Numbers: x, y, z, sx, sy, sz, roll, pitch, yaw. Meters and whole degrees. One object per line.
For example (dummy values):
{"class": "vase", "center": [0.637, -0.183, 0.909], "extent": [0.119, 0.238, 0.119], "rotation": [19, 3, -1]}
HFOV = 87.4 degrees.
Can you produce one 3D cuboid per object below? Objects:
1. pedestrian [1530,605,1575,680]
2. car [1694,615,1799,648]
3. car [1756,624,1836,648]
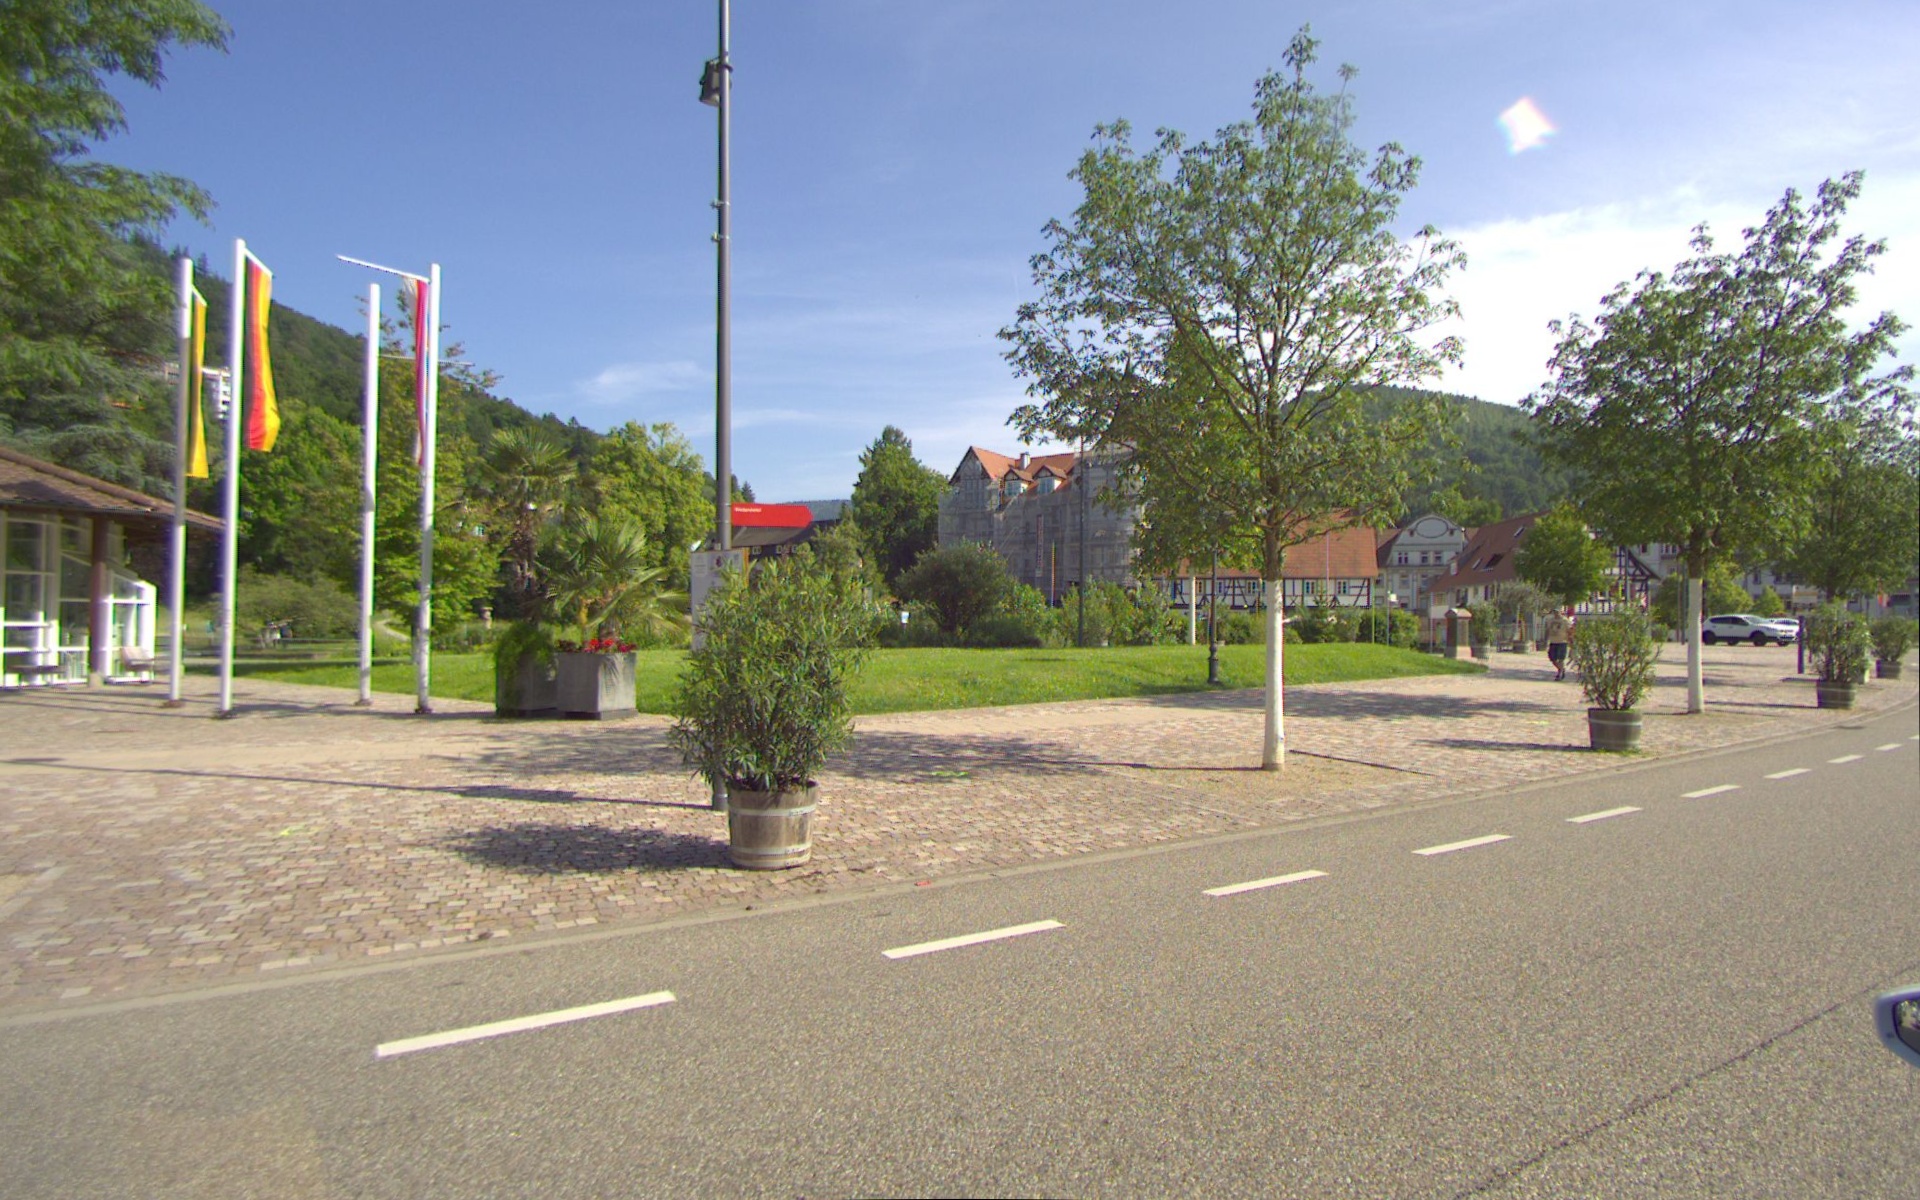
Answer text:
{"class": "pedestrian", "center": [14.767, 1.046, 25.040], "extent": [0.857, 1.839, 0.687], "rotation": [0, -1, 42]}
{"class": "car", "center": [40.816, 1.593, 52.239], "extent": [1.661, 1.638, 4.172], "rotation": [1, -1, -13]}
{"class": "car", "center": [51.646, 2.225, 62.052], "extent": [4.111, 1.439, 1.686], "rotation": [1, -1, -14]}
